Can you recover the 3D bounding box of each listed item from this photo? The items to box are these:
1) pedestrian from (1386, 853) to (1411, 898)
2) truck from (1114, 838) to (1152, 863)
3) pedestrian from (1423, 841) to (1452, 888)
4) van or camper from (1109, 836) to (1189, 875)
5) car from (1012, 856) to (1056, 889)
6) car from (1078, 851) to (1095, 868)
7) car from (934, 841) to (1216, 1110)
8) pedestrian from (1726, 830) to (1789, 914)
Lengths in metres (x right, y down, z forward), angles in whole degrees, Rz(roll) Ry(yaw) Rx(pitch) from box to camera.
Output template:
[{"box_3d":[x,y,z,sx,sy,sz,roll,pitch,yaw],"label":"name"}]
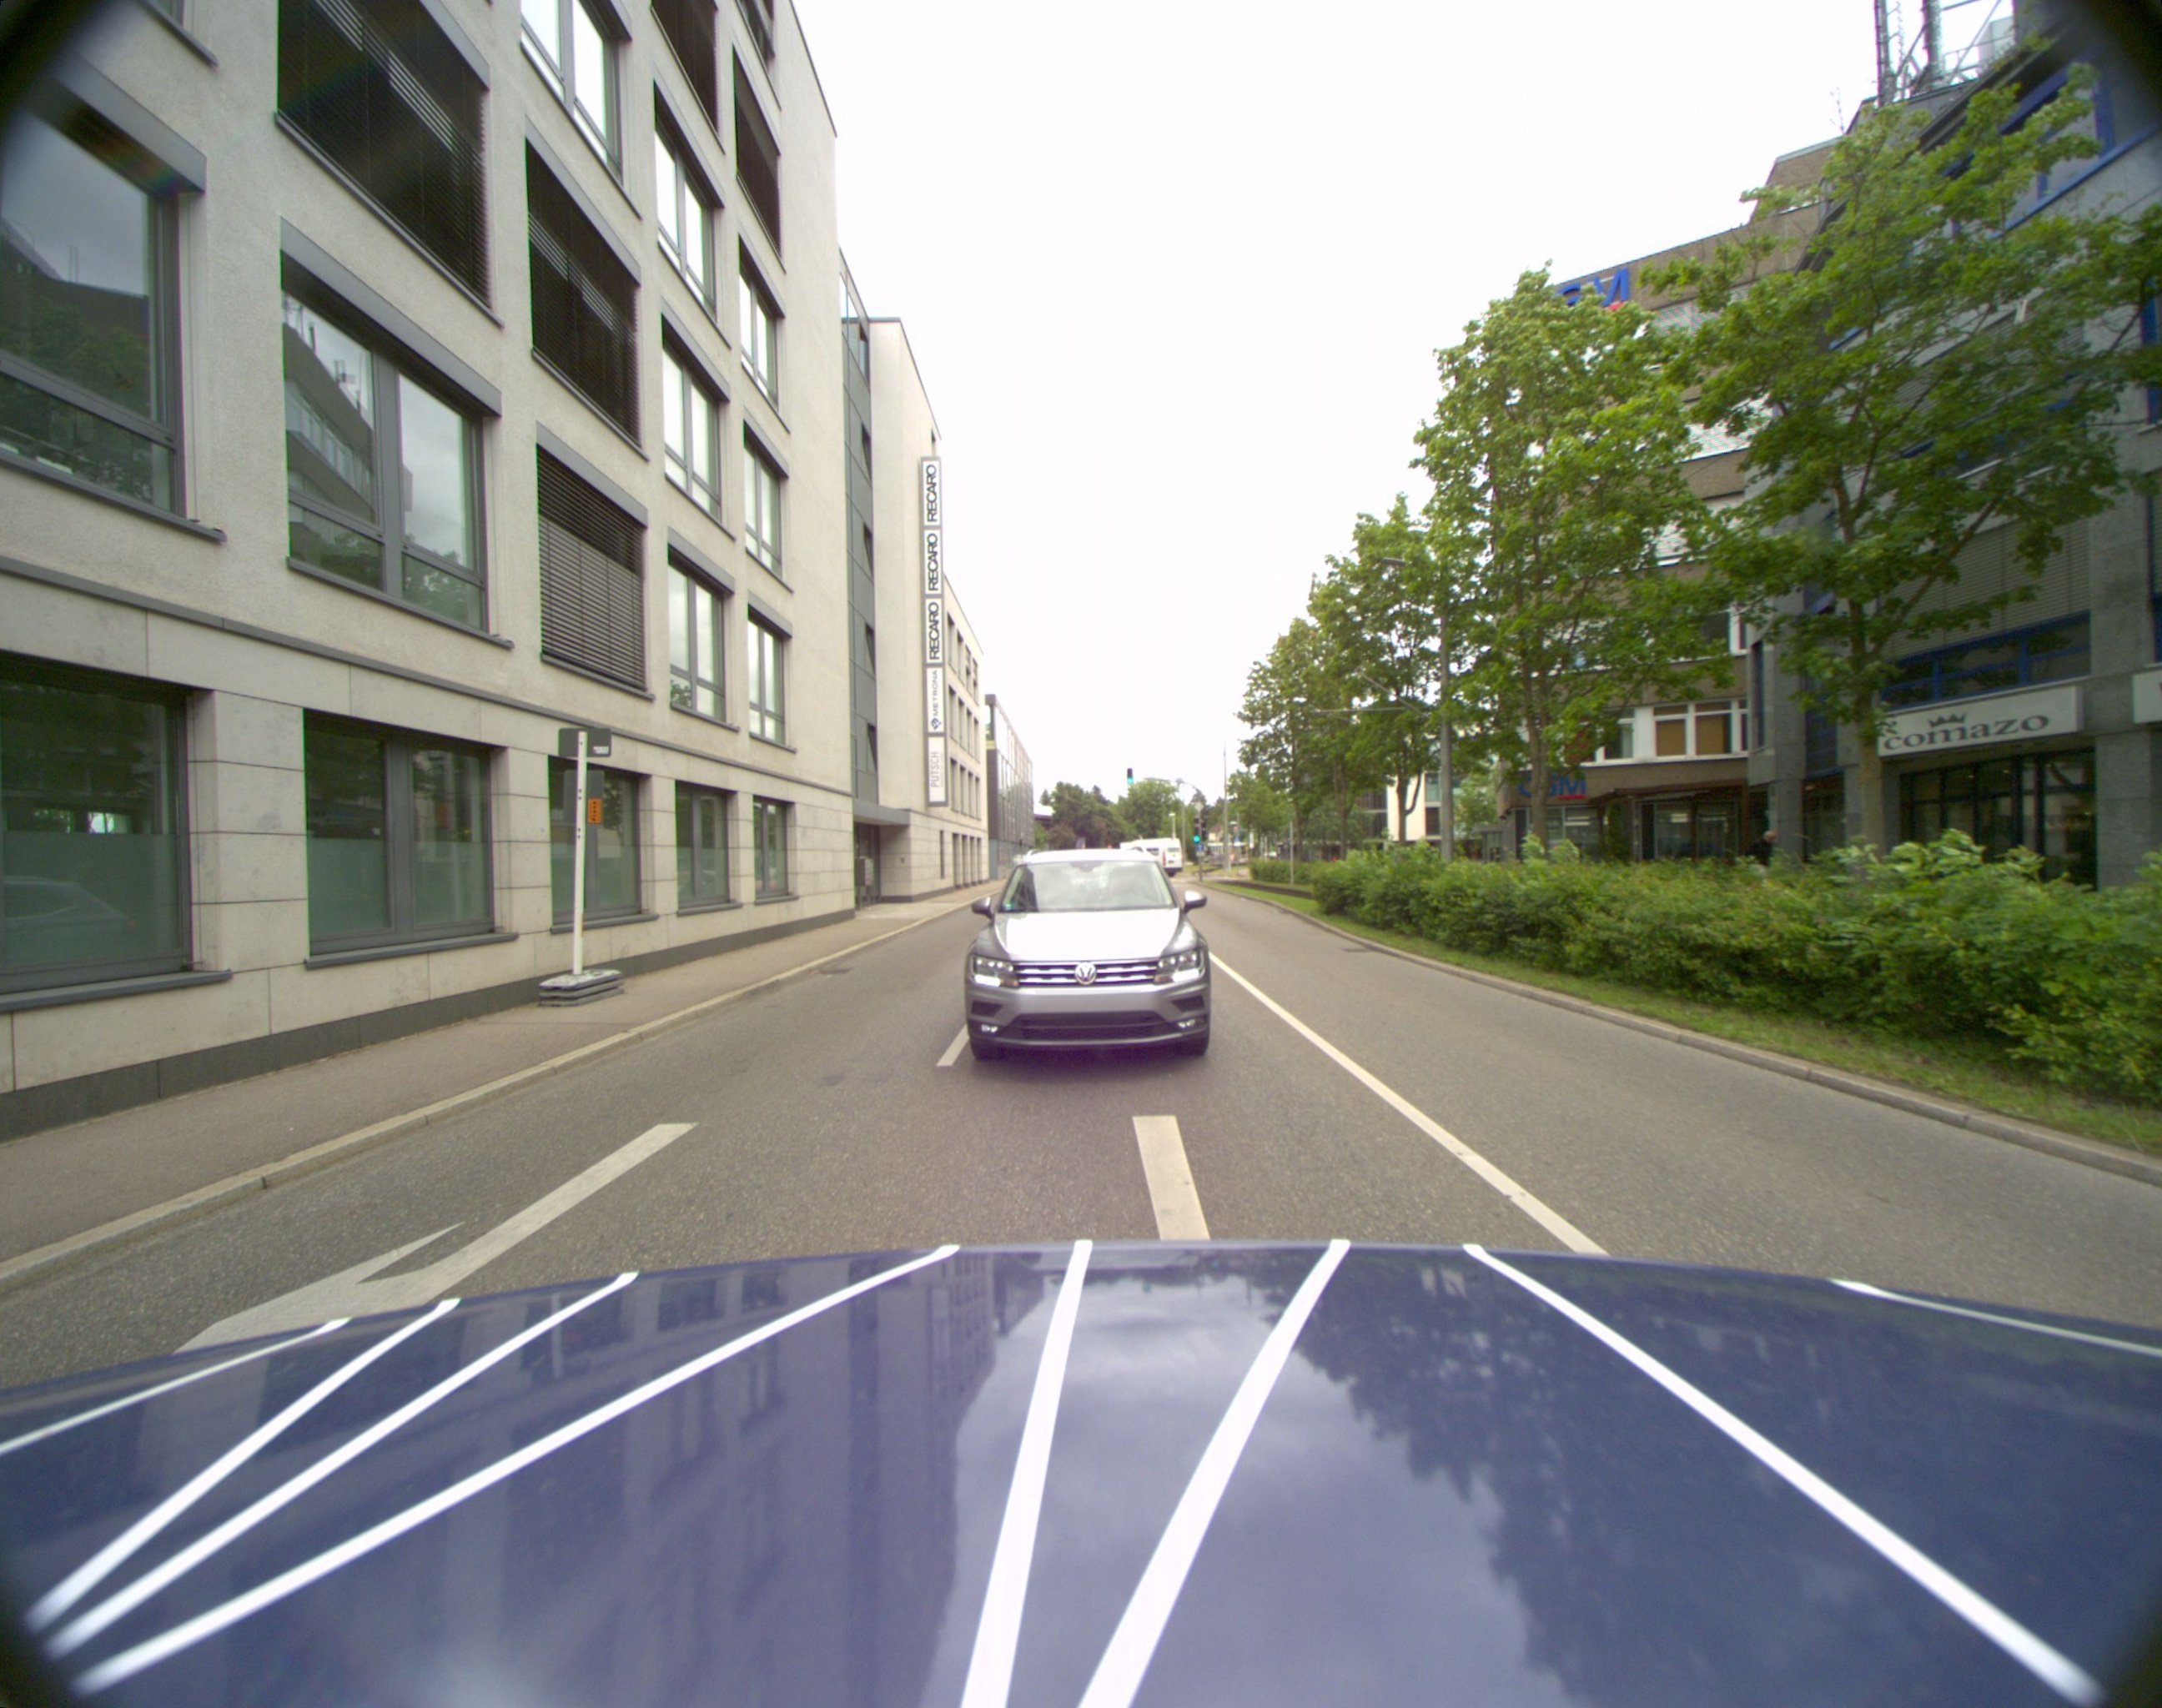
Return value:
[{"box_3d":[13.176,0.890,31.571,0.680,1.795,0.731,-2,1,-4],"label":"pedestrian"},{"box_3d":[8.128,-0.615,116.890,2.317,3.626,8.024,-1,1,31],"label":"truck"},{"box_3d":[14.863,0.422,31.683,0.816,1.912,0.731,-2,1,0],"label":"pedestrian"},{"box_3d":[4.934,0.132,56.174,2.118,2.718,6.135,-3,1,-40],"label":"van or camper"},{"box_3d":[-2.369,0.914,39.166,1.890,1.483,4.000,-4,0,1],"label":"car"},{"box_3d":[0.714,0.682,96.134,1.998,2.002,4.000,-2,1,1],"label":"car"},{"box_3d":[-0.005,0.781,7.163,1.798,1.716,4.458,-1,0,1],"label":"car"},{"box_3d":[15.612,0.408,17.545,0.776,1.883,0.731,-2,1,-1],"label":"pedestrian"}]
